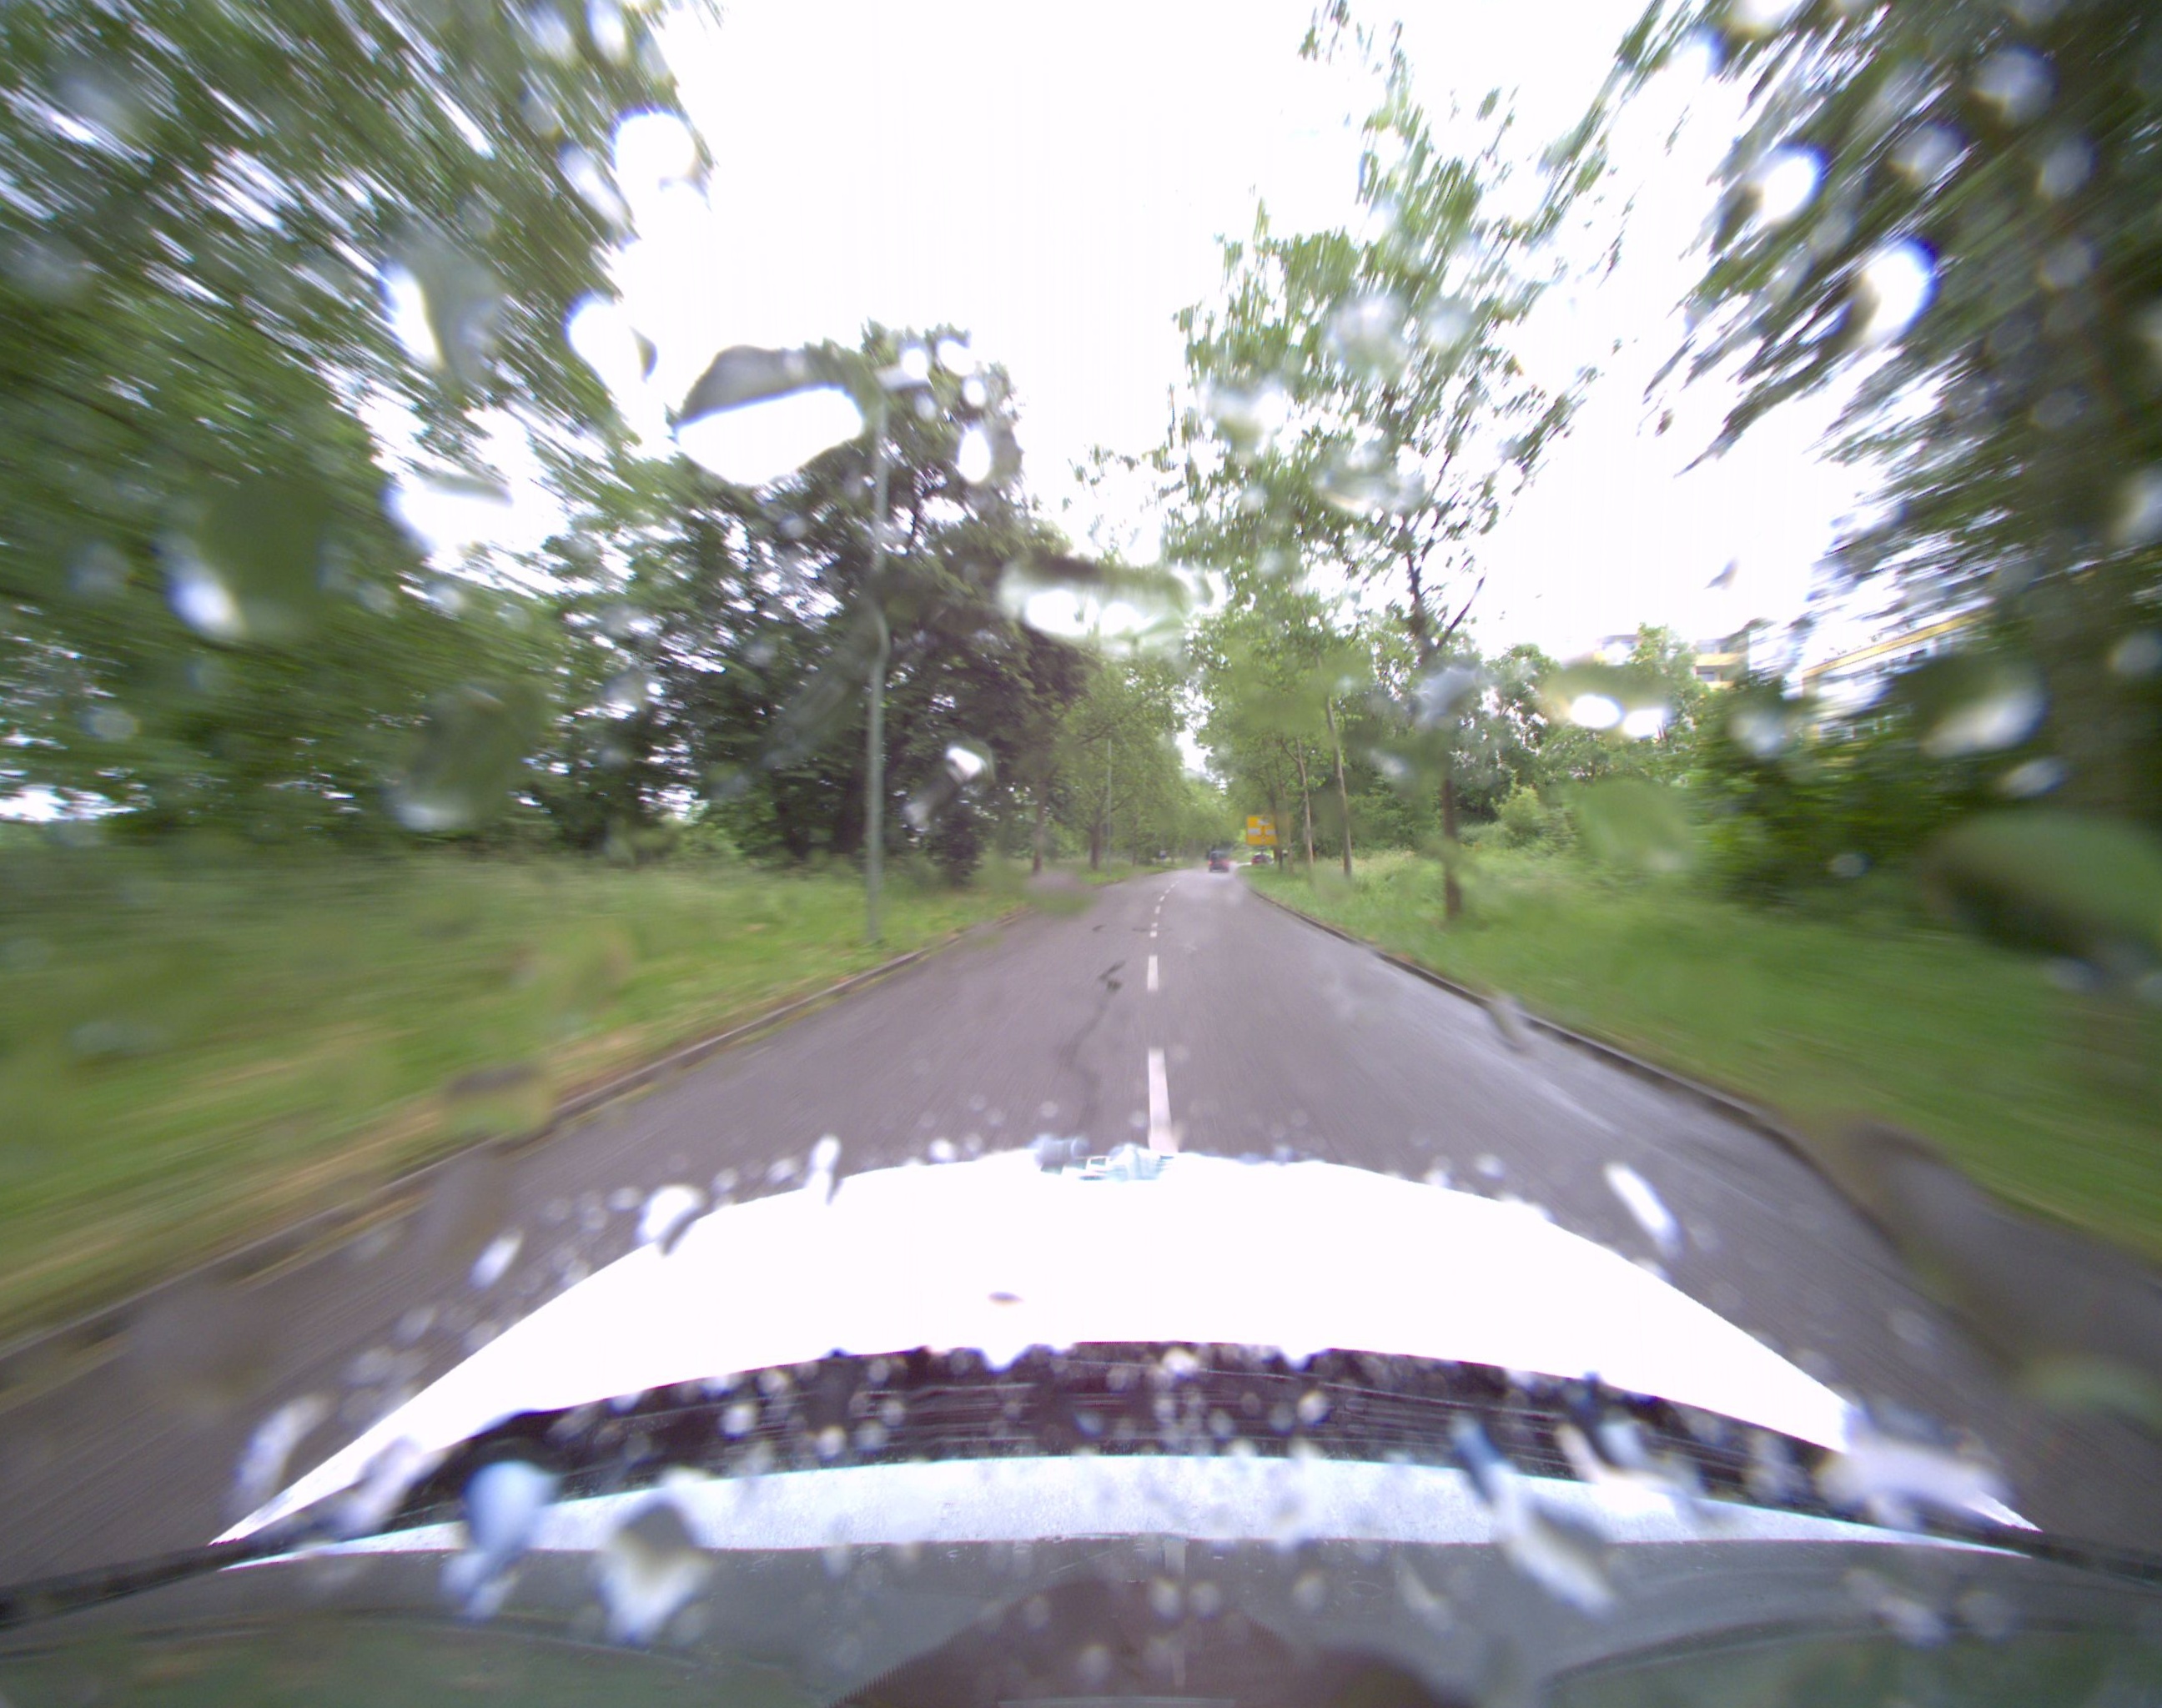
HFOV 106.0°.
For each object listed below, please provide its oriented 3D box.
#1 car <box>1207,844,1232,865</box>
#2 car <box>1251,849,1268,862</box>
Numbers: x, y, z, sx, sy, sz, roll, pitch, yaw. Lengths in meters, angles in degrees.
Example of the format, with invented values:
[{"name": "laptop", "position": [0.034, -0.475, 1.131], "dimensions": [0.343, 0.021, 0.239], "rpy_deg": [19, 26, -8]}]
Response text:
[{"name": "car", "position": [12.511, 0.042, 73.376], "dimensions": [1.904, 1.801, 3.805], "rpy_deg": [0, 0, 15]}, {"name": "car", "position": [20.730, 0.201, 94.658], "dimensions": [1.784, 1.372, 3.758], "rpy_deg": [-2, -1, 14]}]
